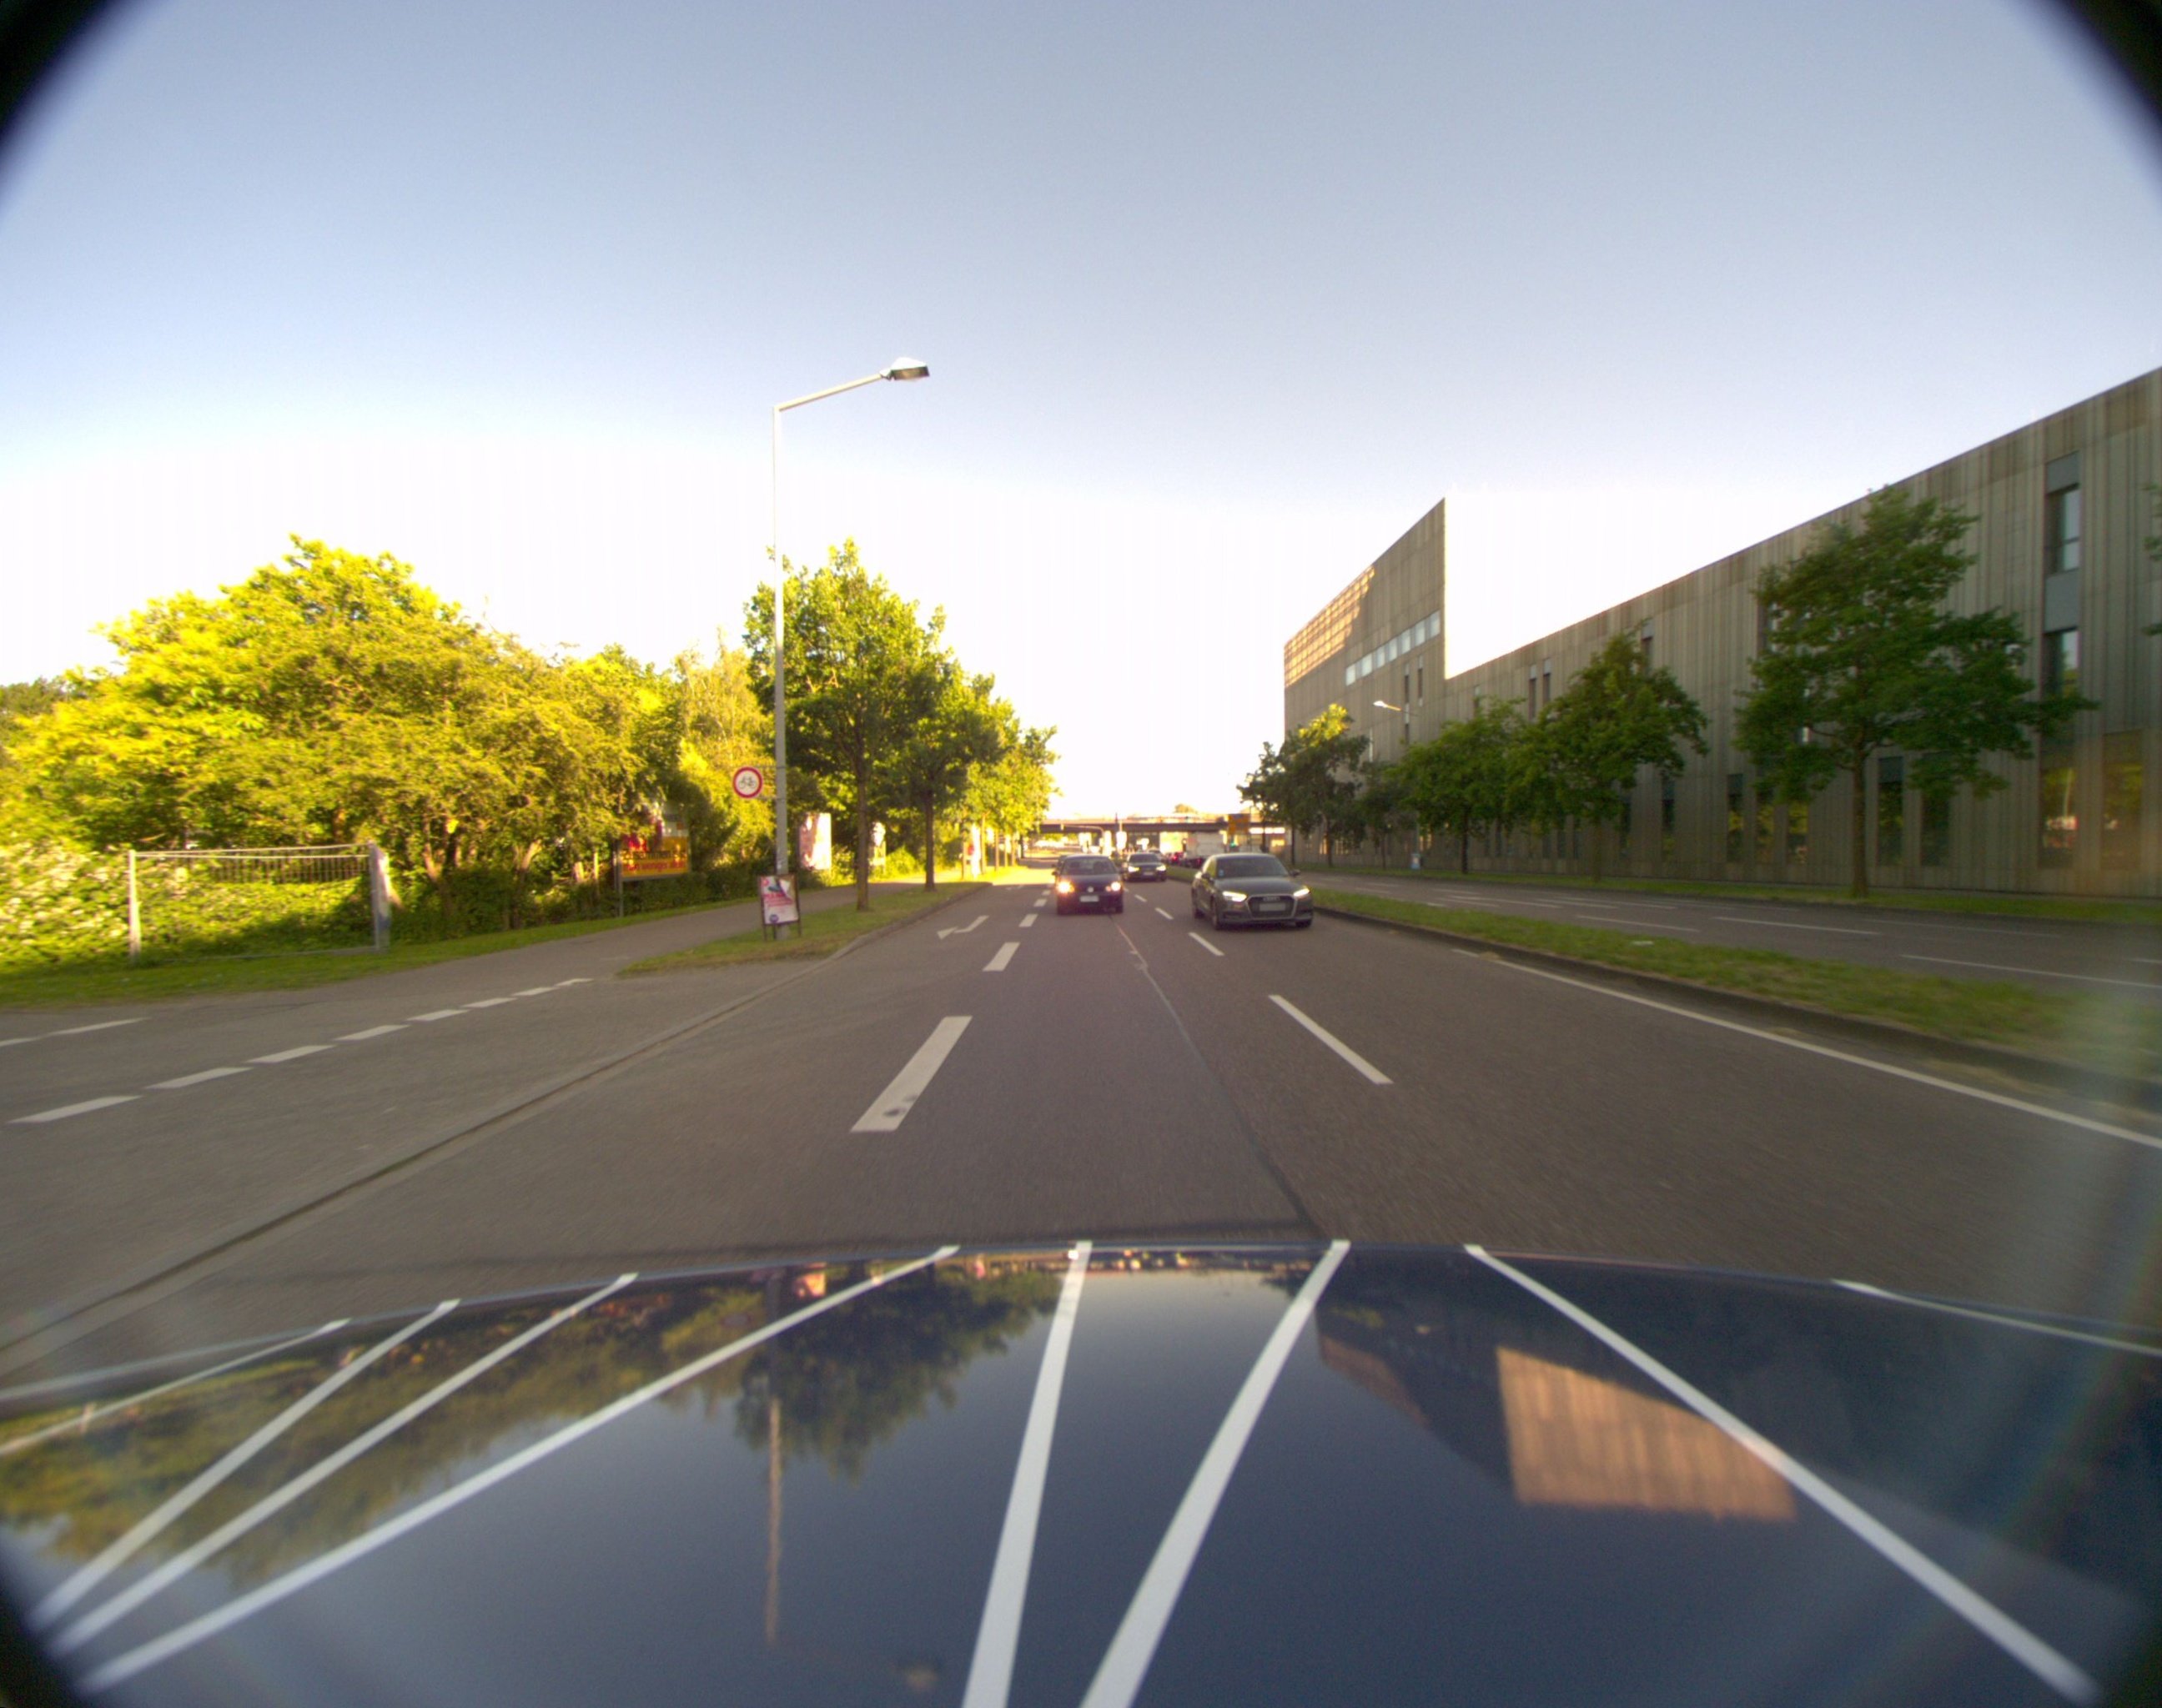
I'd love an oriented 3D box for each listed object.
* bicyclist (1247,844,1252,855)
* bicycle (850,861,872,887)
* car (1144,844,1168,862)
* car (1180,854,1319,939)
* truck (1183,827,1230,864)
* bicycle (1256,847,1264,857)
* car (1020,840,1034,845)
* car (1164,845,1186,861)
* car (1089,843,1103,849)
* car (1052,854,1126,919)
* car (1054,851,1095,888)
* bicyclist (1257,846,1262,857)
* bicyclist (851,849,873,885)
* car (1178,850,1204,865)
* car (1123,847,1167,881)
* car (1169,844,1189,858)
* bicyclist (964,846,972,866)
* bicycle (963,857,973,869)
[{"bbox_3d":[23.199,-0.602,104.651,0.509,1.434,0.752,0,1,-2],"label":"bicyclist"},{"bbox_3d":[-9.586,0.847,33.152,0.517,1.066,1.935,-1,1,-4],"label":"bicycle"},{"bbox_3d":[7.581,-0.121,76.863,1.829,1.672,4.657,1,1,-1],"label":"car"},{"bbox_3d":[3.217,0.746,15.376,1.702,1.396,4.363,-1,1,-2],"label":"car"},{"bbox_3d":[10.551,-0.724,64.778,2.693,2.944,7.112,1,1,-1],"label":"truck"},{"bbox_3d":[24.264,-0.302,103.168,0.513,1.262,2.099,0,1,-2],"label":"bicycle"},{"bbox_3d":[-16.662,-3.515,235.586,1.994,1.433,4.867,0,1,-35],"label":"car"},{"bbox_3d":[10.409,-0.148,84.275,1.846,1.647,3.998,1,1,-1],"label":"car"},{"bbox_3d":[3.997,-2.176,200.713,1.884,1.558,3.917,-3,2,-27],"label":"car"},{"bbox_3d":[0.139,0.789,19.926,1.702,1.474,4.052,-2,-1,-2],"label":"car"},{"bbox_3d":[-0.330,0.631,33.763,1.702,1.478,3.945,-1,1,-2],"label":"car"},{"bbox_3d":[24.265,-0.348,103.125,0.508,1.498,0.644,0,1,-2],"label":"bicyclist"},{"bbox_3d":[-9.515,0.556,32.989,0.687,1.513,1.035,-1,1,-4],"label":"bicyclist"},{"bbox_3d":[10.466,0.296,72.564,1.840,1.416,3.999,1,0,-1],"label":"car"},{"bbox_3d":[3.102,0.441,37.506,1.702,1.529,3.945,-1,1,-2],"label":"car"},{"bbox_3d":[10.181,-0.333,79.104,1.624,1.461,3.639,1,1,-1],"label":"car"},{"bbox_3d":[-9.458,0.152,63.523,0.566,1.600,0.865,-1,1,-2],"label":"bicyclist"},{"bbox_3d":[-9.456,0.730,63.654,0.573,0.986,2.046,-1,0,-2],"label":"bicycle"}]
